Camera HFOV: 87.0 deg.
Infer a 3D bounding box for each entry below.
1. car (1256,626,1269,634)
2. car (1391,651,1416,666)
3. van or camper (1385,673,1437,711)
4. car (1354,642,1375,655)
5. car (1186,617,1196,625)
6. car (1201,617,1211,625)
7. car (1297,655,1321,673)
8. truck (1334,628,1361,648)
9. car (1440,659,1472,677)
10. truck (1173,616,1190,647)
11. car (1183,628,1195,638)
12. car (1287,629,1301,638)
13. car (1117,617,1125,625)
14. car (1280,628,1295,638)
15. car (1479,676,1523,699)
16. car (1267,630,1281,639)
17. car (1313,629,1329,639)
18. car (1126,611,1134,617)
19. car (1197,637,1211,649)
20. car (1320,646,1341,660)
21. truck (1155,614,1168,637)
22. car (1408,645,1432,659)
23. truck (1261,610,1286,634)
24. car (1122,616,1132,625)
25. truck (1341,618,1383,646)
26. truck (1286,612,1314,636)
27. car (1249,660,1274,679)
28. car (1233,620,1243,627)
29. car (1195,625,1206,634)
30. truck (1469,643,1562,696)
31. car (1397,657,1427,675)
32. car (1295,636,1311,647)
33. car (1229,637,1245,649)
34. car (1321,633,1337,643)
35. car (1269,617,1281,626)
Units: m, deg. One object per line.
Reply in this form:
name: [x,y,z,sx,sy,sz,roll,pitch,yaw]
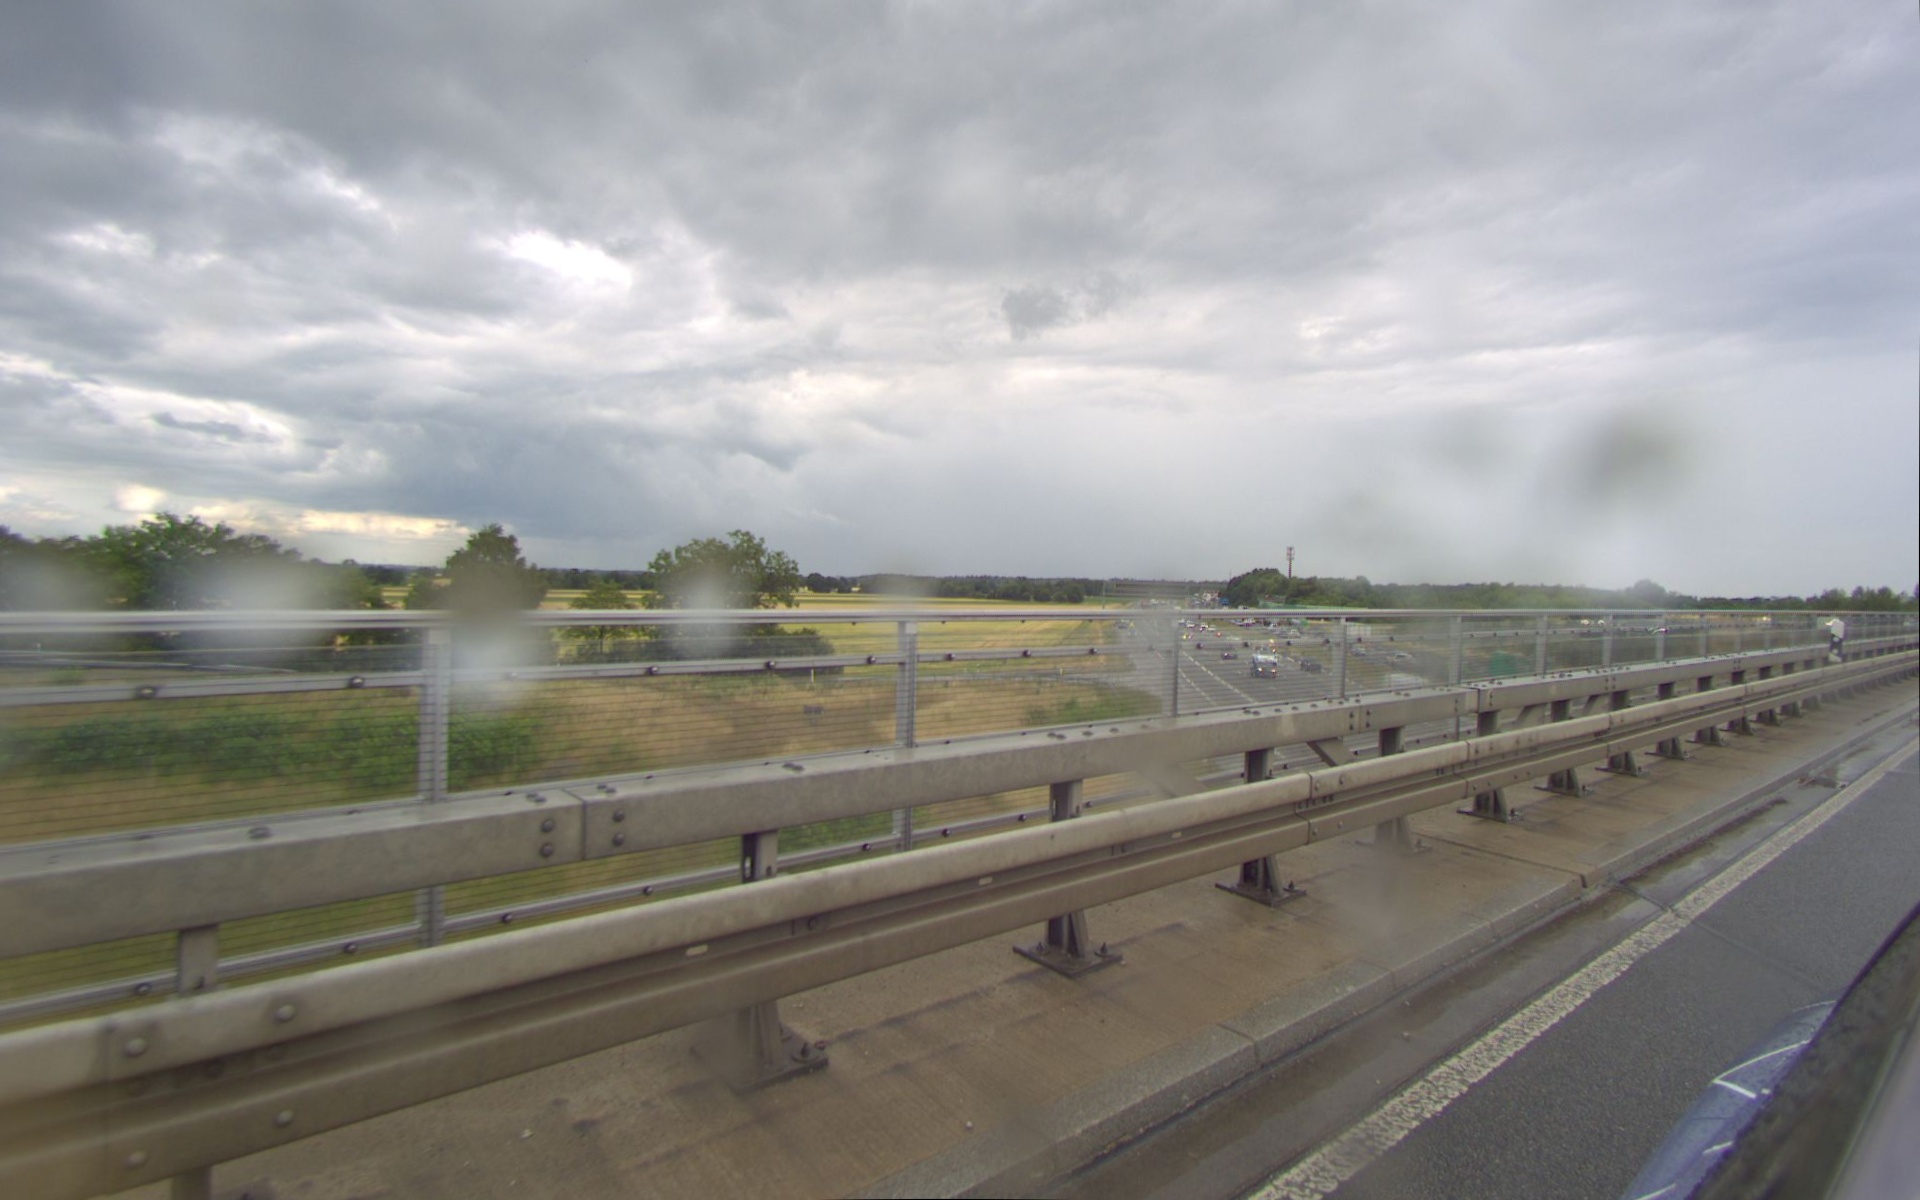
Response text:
car: [63.394,6.299,212.041,1.826,1.690,4.713,0,0,8]
car: [57.092,7.501,130.355,1.826,1.690,4.713,0,0,8]
van or camper: [37.589,7.606,84.567,2.025,2.482,7.312,0,0,8]
car: [60.047,7.245,150.338,1.826,1.690,4.713,0,0,8]
car: [51.574,4.735,226.039,1.826,1.690,4.713,0,0,8]
car: [57.073,4.919,234.842,1.826,1.690,4.713,0,0,8]
car: [40.763,7.457,118.232,1.826,1.690,4.713,0,0,8]
truck: [64.896,6.291,169.562,2.175,3.003,9.286,0,0,8]
car: [54.738,7.498,111.788,1.826,1.690,4.713,0,0,8]
truck: [38.842,5.436,177.872,2.751,4.962,12.711,0,0,12]
car: [43.247,6.275,191.527,1.826,1.690,4.713,0,0,8]
car: [66.771,6.734,202.565,1.826,1.690,4.713,0,0,8]
car: [36.749,4.724,231.046,1.826,1.690,4.713,0,0,8]
car: [62.418,6.305,192.821,1.826,1.690,4.713,0,0,8]
car: [48.421,7.806,90.698,1.825,1.690,4.715,0,0,6]
car: [59.862,6.574,192.802,1.826,1.690,4.713,0,0,8]
car: [63.430,5.989,177.775,1.826,1.690,4.713,0,0,8]
car: [42.029,3.480,249.932,1.783,1.454,4.714,0,0,7]
car: [38.019,6.670,157.767,1.826,1.690,4.713,0,0,8]
car: [50.553,7.260,138.099,1.826,1.690,4.713,0,0,8]
truck: [44.388,5.469,222.750,2.751,4.676,12.711,0,0,12]
car: [63.979,7.284,140.799,1.826,1.690,4.713,0,0,8]
truck: [77.069,5.344,248.865,3.241,5.511,15.595,0,0,8]
car: [33.807,4.129,204.786,1.826,1.690,4.713,0,0,8]
truck: [71.941,5.588,181.501,3.545,4.595,15.588,0,0,9]
truck: [79.365,5.448,236.339,3.241,5.230,15.595,0,0,8]
car: [31.712,7.303,106.452,1.826,1.690,4.713,0,0,8]
car: [67.809,5.748,247.116,1.826,1.797,4.713,0,0,8]
car: [51.144,6.263,214.892,1.826,1.690,4.713,0,0,8]
truck: [58.593,7.164,107.466,3.545,4.595,15.588,0,0,9]
car: [50.989,7.467,114.286,1.826,1.690,4.713,0,0,8]
car: [57.952,6.959,171.010,1.826,1.690,4.713,0,0,8]
car: [42.977,6.647,157.010,1.826,1.690,4.713,0,0,8]
car: [67.953,7.018,186.600,1.826,1.690,4.713,0,0,8]
car: [69.517,4.730,223.104,1.826,1.797,4.713,0,0,8]
